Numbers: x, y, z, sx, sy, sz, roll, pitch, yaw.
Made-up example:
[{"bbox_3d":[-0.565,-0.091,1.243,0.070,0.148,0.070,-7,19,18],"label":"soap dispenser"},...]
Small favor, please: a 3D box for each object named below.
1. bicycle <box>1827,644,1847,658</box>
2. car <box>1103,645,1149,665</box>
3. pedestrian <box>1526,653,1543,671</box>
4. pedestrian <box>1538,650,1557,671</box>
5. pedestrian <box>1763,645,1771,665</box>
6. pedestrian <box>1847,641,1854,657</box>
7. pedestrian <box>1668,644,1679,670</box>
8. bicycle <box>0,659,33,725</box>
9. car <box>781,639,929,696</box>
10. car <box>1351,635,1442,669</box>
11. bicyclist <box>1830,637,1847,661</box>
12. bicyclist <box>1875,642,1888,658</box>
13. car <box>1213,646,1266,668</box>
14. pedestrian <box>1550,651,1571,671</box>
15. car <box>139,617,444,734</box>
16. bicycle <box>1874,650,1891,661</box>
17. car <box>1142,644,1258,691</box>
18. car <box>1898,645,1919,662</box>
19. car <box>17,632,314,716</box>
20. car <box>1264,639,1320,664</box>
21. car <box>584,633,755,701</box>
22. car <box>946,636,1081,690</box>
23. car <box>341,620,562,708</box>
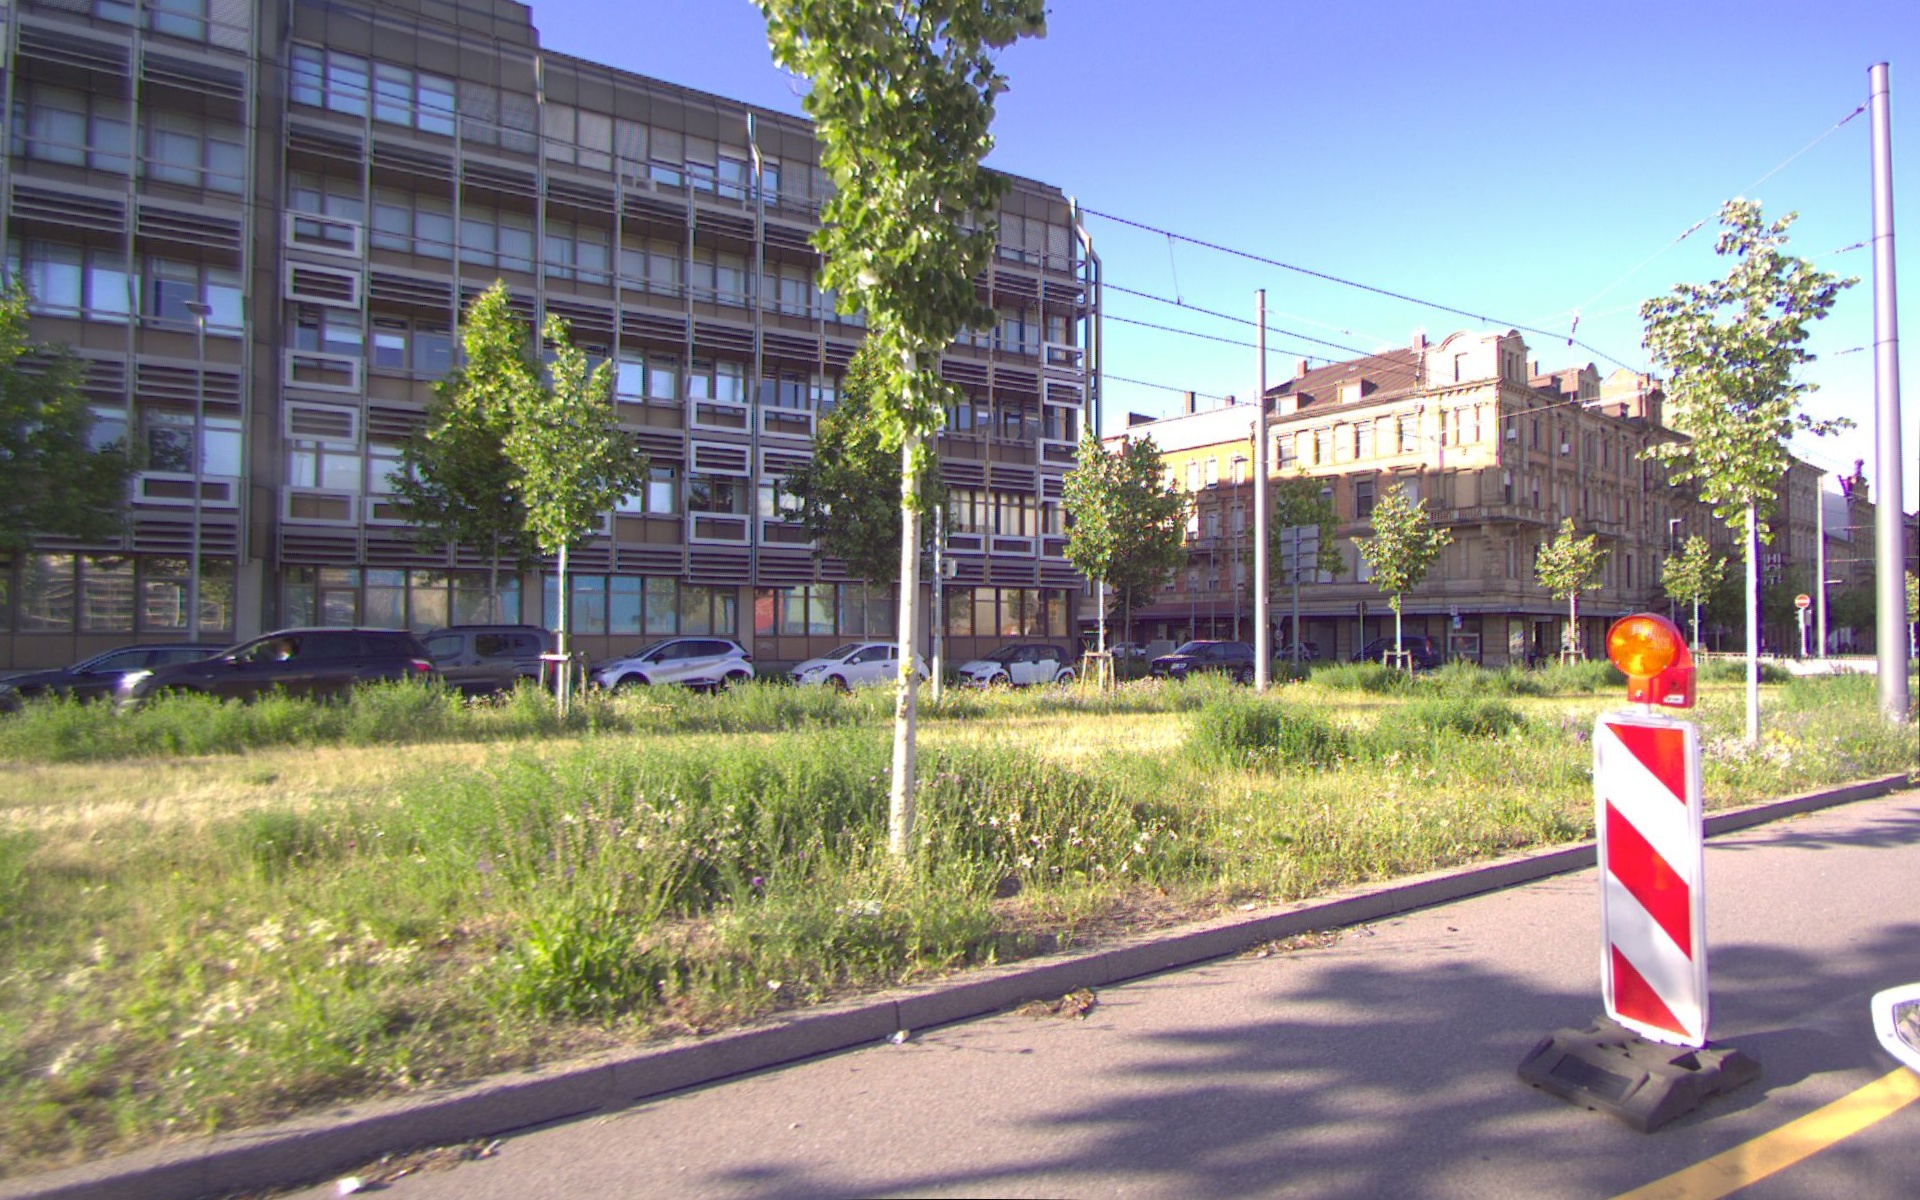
[{"bbox_3d":[61.518,3.593,70.476,1.810,0.991,0.690,2,-2,-37],"label":"bicycle"},{"bbox_3d":[12.100,3.998,73.334,1.474,1.427,3.026,2,-3,-42],"label":"car"},{"bbox_3d":[34.872,3.743,60.966,0.729,1.073,0.685,2,-2,-37],"label":"pedestrian"},{"bbox_3d":[34.996,3.600,59.843,0.921,1.263,0.685,2,-2,-37],"label":"pedestrian"},{"bbox_3d":[66.850,4.549,83.242,0.422,1.606,0.400,2,0,-38],"label":"pedestrian"},{"bbox_3d":[86.978,4.798,98.105,0.431,1.553,0.402,2,0,-38],"label":"pedestrian"},{"bbox_3d":[48.984,3.895,68.970,0.402,1.788,0.504,2,0,-38],"label":"pedestrian"},{"bbox_3d":[-16.848,1.555,16.881,1.751,1.110,0.562,1,-3,-32],"label":"bicycle"},{"bbox_3d":[-2.915,1.844,27.984,3.774,1.460,1.617,2,-1,-31],"label":"car"},{"bbox_3d":[25.231,2.985,58.173,1.884,1.928,4.469,2,-3,-42],"label":"car"},{"bbox_3d":[61.993,3.469,70.874,0.874,1.679,0.690,2,-2,-37],"label":"bicyclist"},{"bbox_3d":[73.258,3.950,79.825,0.731,1.256,0.633,2,-2,-37],"label":"bicyclist"},{"bbox_3d":[18.431,3.753,66.342,1.568,1.427,3.026,2,-3,-42],"label":"car"},{"bbox_3d":[36.382,3.692,60.858,0.921,1.224,0.785,2,-2,-37],"label":"pedestrian"},{"bbox_3d":[-11.143,1.214,17.053,4.076,1.769,1.718,2,-2,-33],"label":"car"},{"bbox_3d":[73.475,4.426,79.980,2.012,0.869,0.632,2,-2,-37],"label":"bicycle"},{"bbox_3d":[8.534,2.361,35.675,3.851,1.481,1.723,2,0,-28],"label":"car"},{"bbox_3d":[92.657,5.210,97.564,4.673,1.583,1.554,2,-3,-38],"label":"car"},{"bbox_3d":[-15.660,1.416,20.162,4.454,1.488,1.720,2,-1,-32],"label":"car"},{"bbox_3d":[20.886,3.220,63.190,1.373,1.487,3.116,2,-3,-42],"label":"car"},{"bbox_3d":[-7.307,1.643,25.323,3.839,1.556,1.729,1,-1,-31],"label":"car"},{"bbox_3d":[1.681,1.918,31.173,3.920,1.574,1.641,2,-2,-30],"label":"car"},{"bbox_3d":[-11.419,1.392,22.692,4.280,1.795,1.742,1,-1,-31],"label":"car"}]
